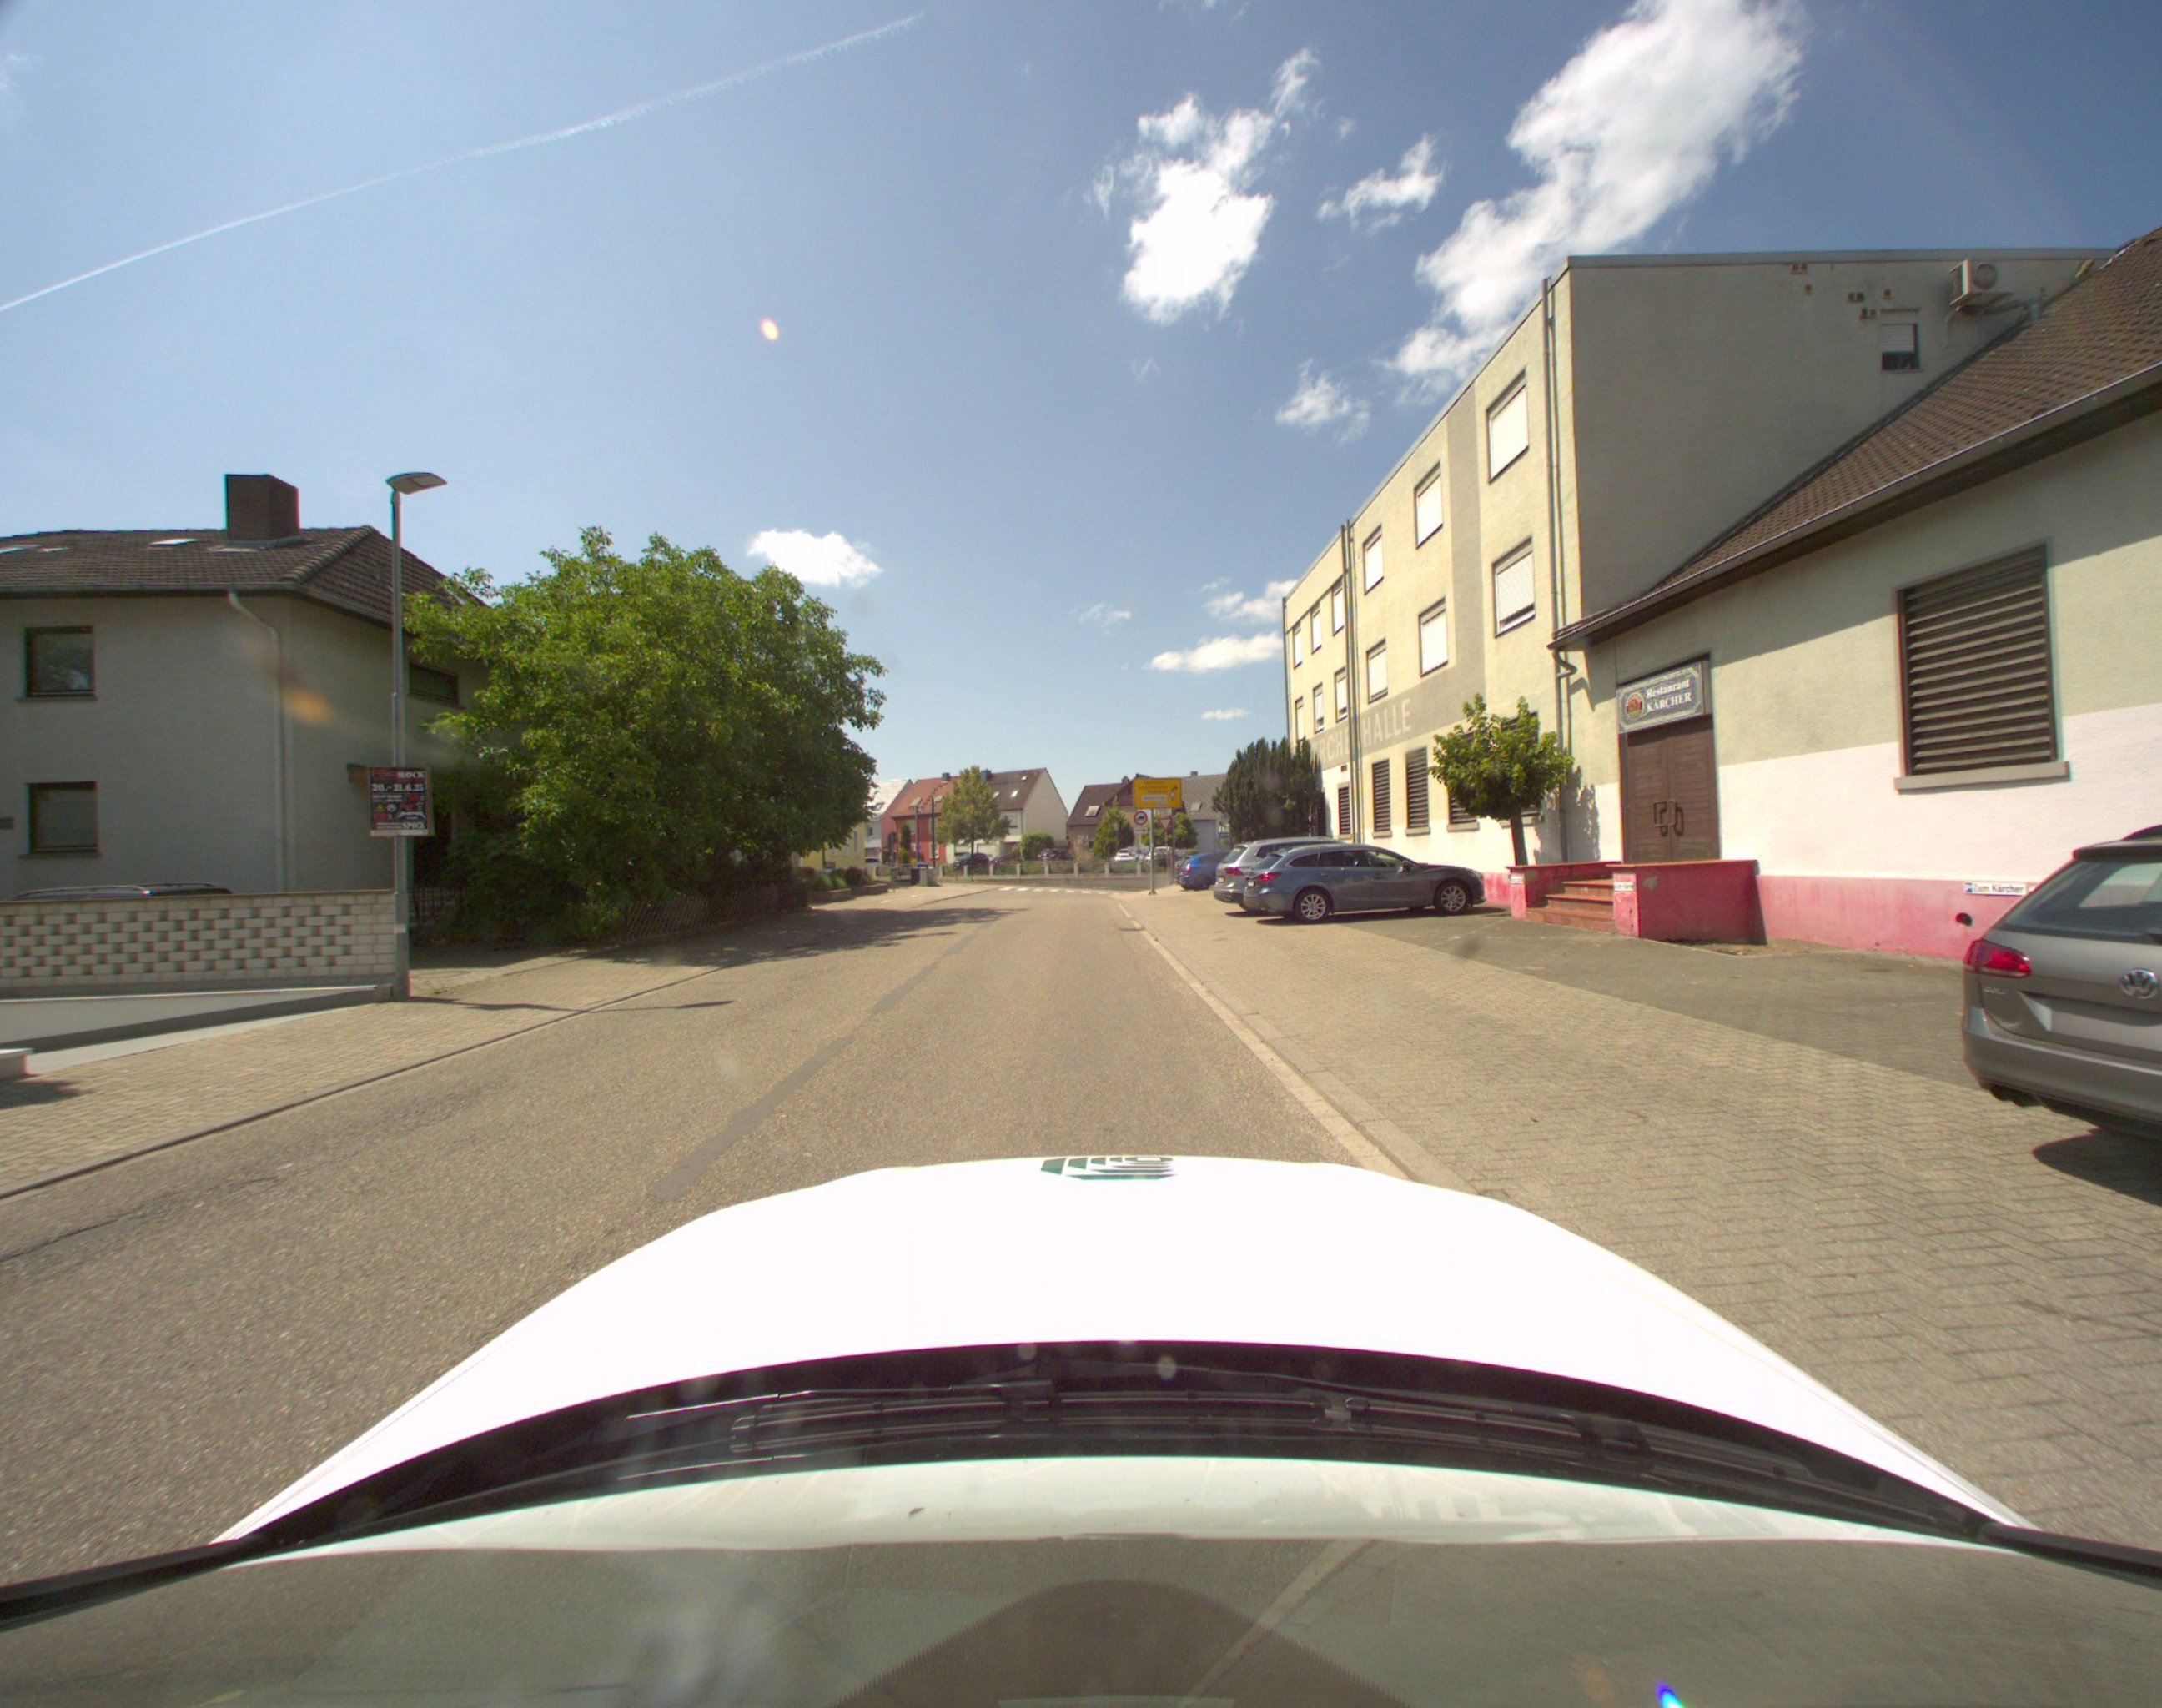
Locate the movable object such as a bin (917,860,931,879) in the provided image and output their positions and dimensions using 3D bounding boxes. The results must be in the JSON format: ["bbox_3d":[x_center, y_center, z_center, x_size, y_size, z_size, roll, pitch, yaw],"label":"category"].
[{"bbox_3d":[-10.418,1.042,53.985,0.841,1.213,1.270,0,-1,-14],"label":"movable object such as a bin"}]

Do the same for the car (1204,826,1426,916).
[{"bbox_3d":[5.255,0.371,18.676,4.443,1.697,1.920,-3,0,-4],"label":"car"}]

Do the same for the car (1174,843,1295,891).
[{"bbox_3d":[5.982,0.536,32.095,4.312,1.440,1.778,-5,-3,-3],"label":"car"}]

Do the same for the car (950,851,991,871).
[{"bbox_3d":[-9.864,0.662,72.666,1.850,1.586,3.630,3,-1,25],"label":"car"}]

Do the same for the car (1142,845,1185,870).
[{"bbox_3d":[6.570,0.282,64.382,1.975,1.797,4.220,3,-1,25],"label":"car"}]

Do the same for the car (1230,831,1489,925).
[{"bbox_3d":[5.466,0.452,16.409,4.489,1.520,1.998,-3,0,-2],"label":"car"}]

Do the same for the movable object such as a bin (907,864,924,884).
[{"bbox_3d":[-10.272,1.266,50.620,0.882,1.225,0.902,0,-1,1],"label":"movable object such as a bin"}]

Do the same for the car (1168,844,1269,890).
[{"bbox_3d":[5.926,0.566,35.360,3.887,1.490,1.807,-7,-2,-4],"label":"car"}]

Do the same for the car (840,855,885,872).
[{"bbox_3d":[-21.796,0.943,81.381,1.725,1.488,4.282,2,-1,32],"label":"car"}]

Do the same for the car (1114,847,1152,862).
[{"bbox_3d":[4.192,0.042,65.484,1.808,1.020,3.479,3,-1,25],"label":"car"}]

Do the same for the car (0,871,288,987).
[{"bbox_3d":[-14.920,1.105,12.381,3.899,1.492,1.794,-2,1,0],"label":"car"}]

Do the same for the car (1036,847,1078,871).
[{"bbox_3d":[-2.009,0.455,68.869,1.850,1.797,4.022,3,-1,25],"label":"car"}]

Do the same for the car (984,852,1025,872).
[{"bbox_3d":[-6.609,0.679,70.734,1.850,1.586,3.630,3,-1,25],"label":"car"}]

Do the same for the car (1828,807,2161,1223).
[{"bbox_3d":[6.056,0.456,3.192,4.514,1.454,1.917,-3,0,-2],"label":"car"}]
